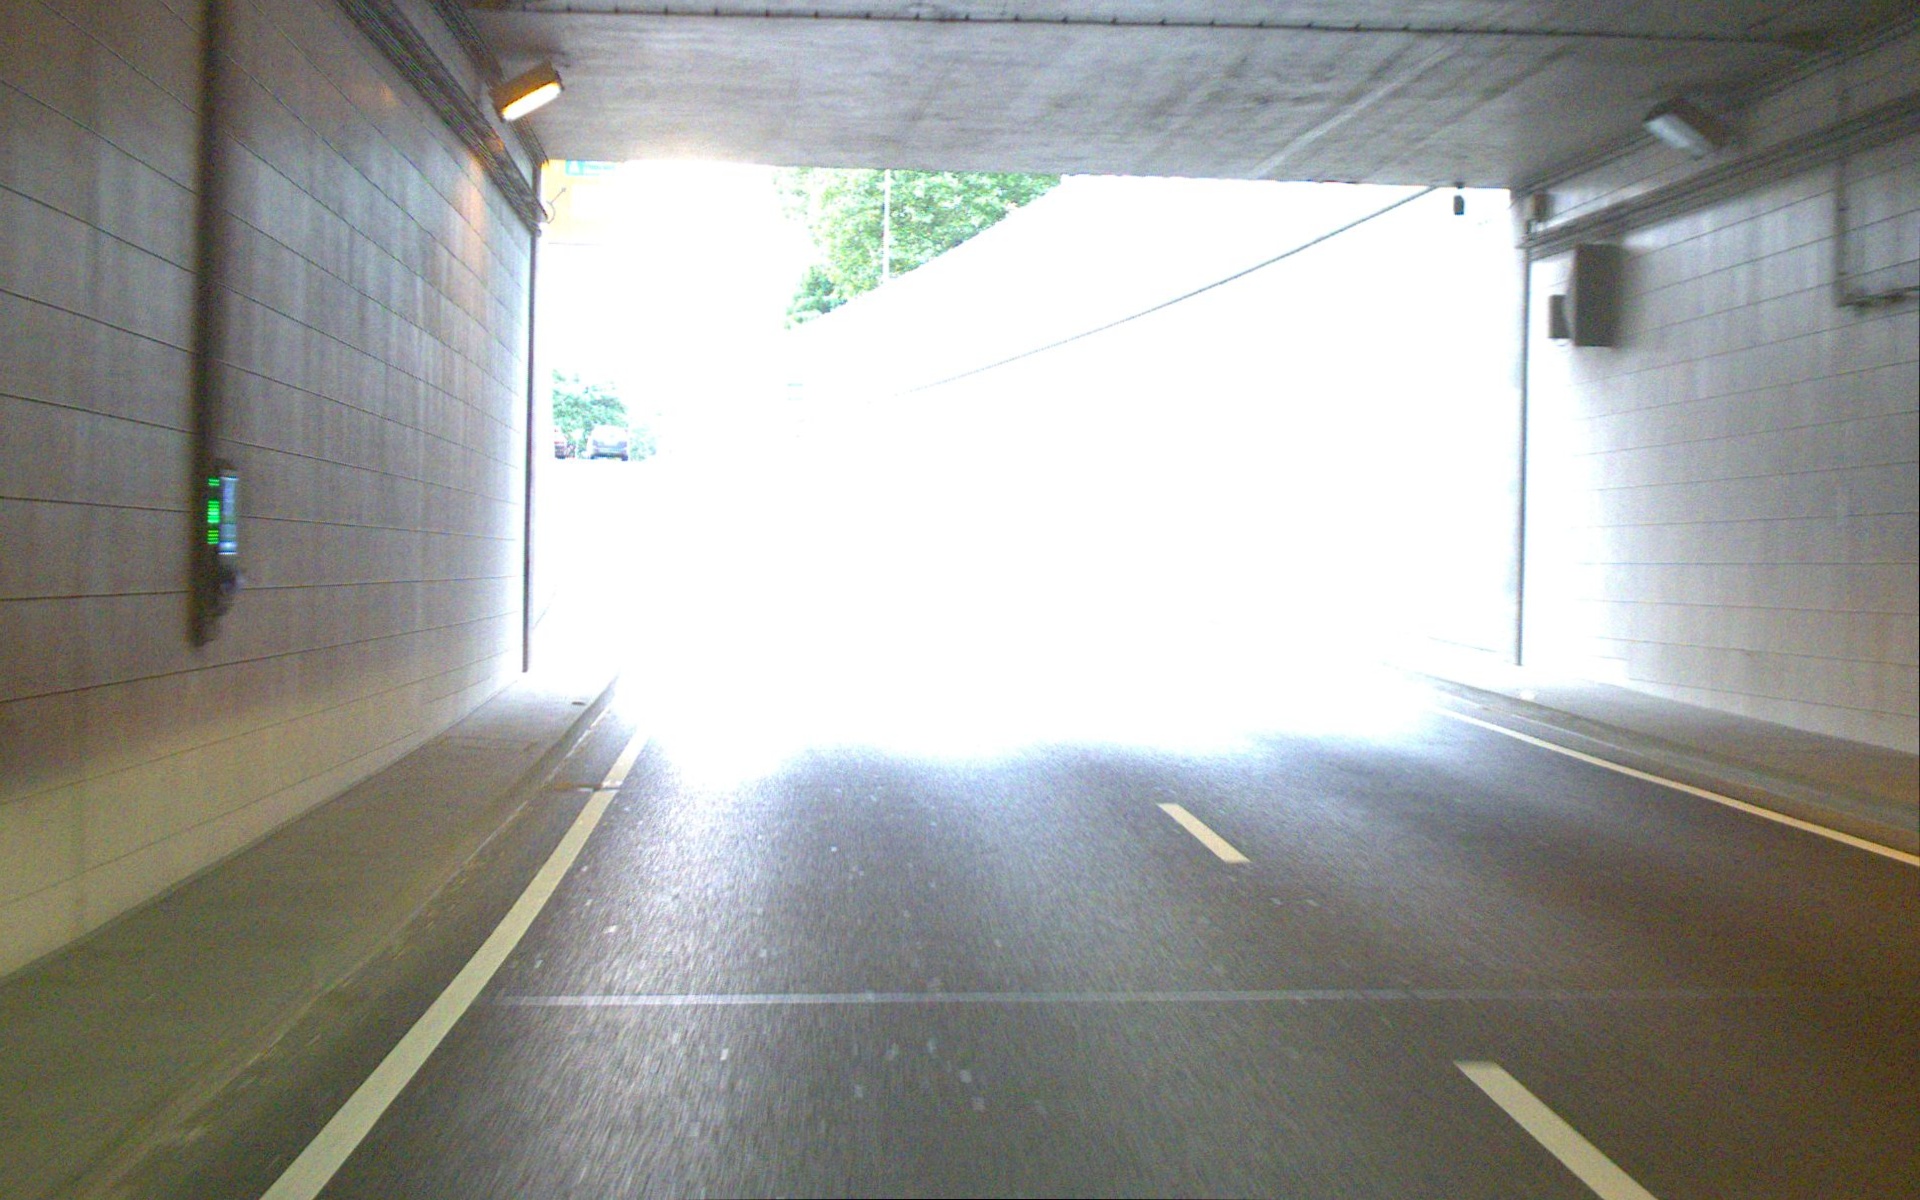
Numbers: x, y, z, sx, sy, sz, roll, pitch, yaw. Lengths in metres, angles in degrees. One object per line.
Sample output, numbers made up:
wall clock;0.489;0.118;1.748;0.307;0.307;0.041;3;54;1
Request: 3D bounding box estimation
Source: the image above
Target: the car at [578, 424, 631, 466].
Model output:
car;-15.915;-6.904;153.752;1.869;1.726;4.001;1;1;-12
